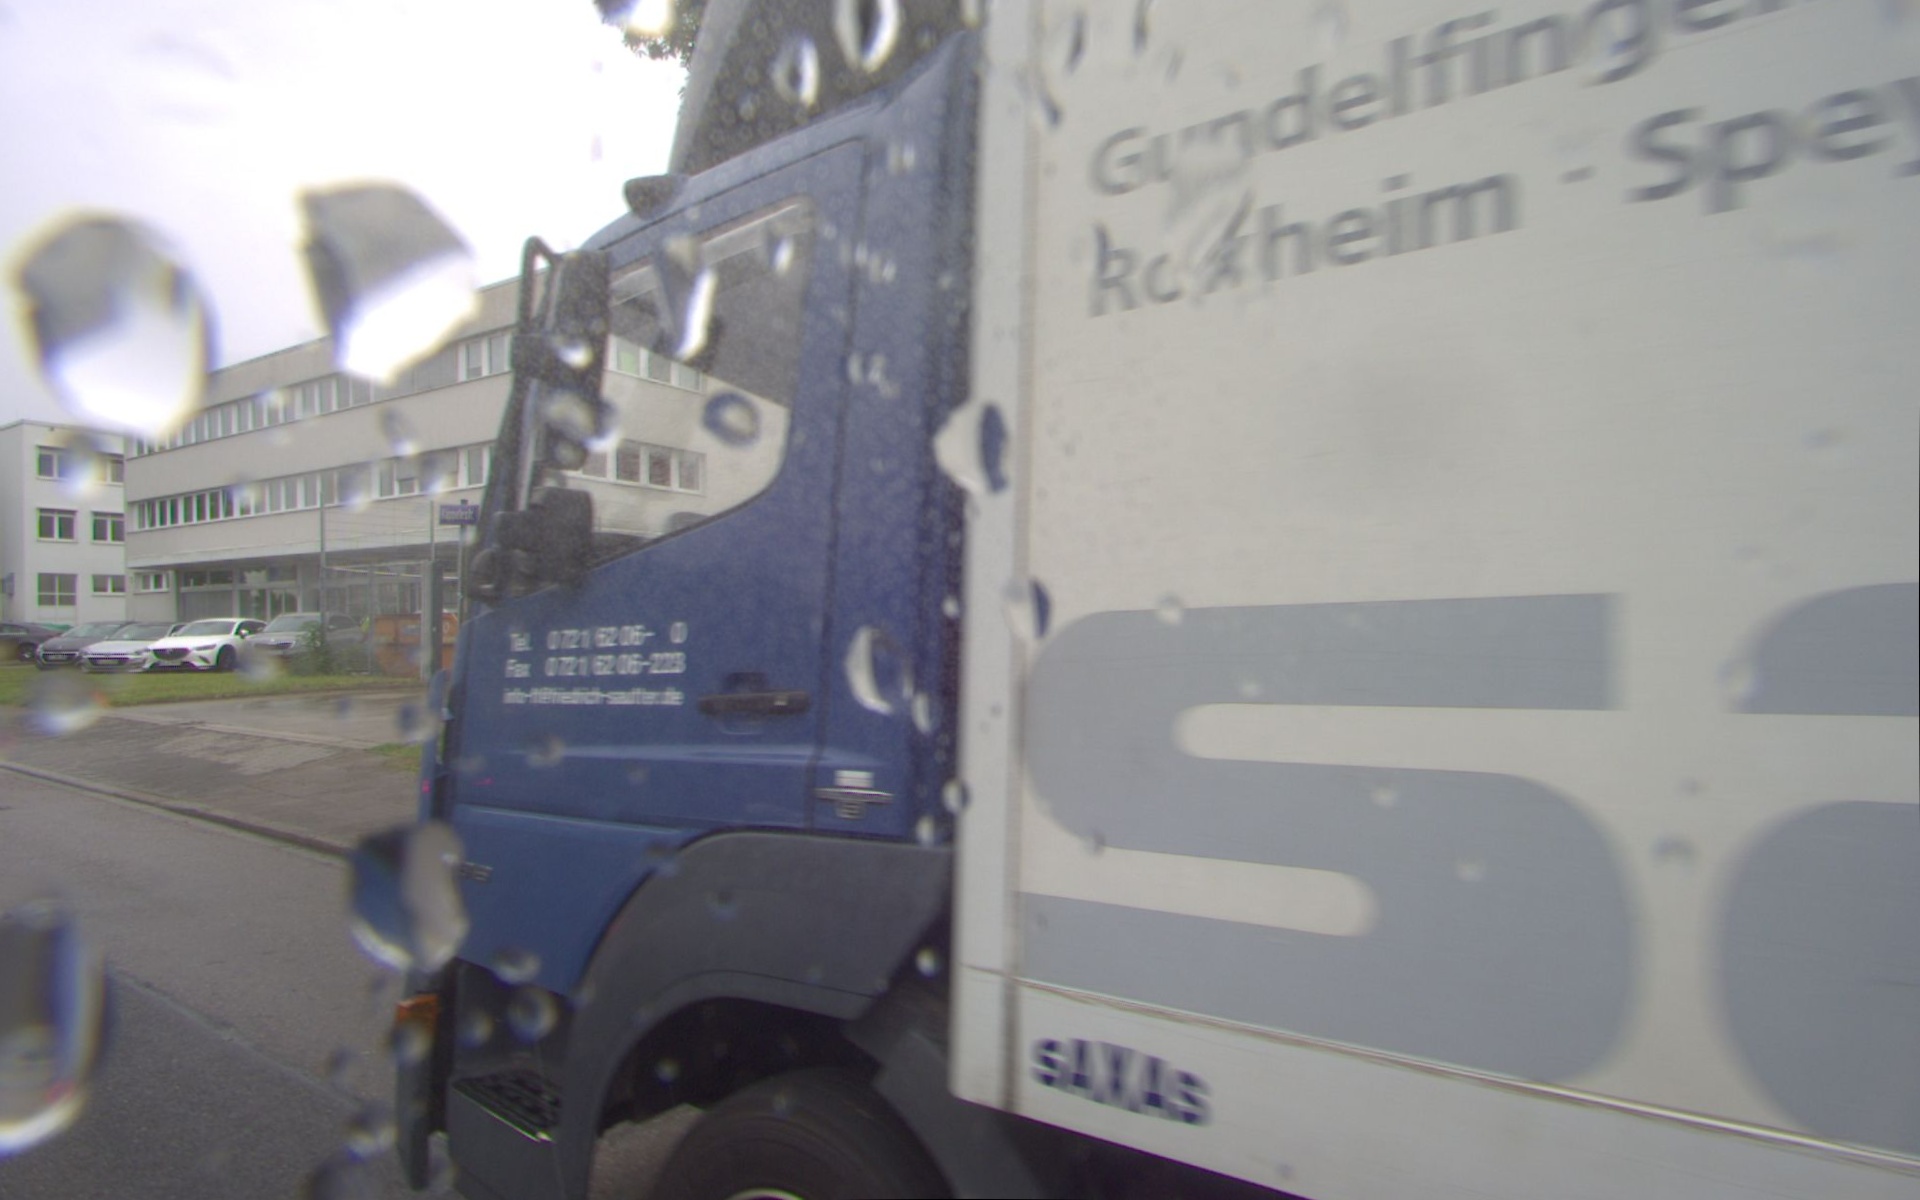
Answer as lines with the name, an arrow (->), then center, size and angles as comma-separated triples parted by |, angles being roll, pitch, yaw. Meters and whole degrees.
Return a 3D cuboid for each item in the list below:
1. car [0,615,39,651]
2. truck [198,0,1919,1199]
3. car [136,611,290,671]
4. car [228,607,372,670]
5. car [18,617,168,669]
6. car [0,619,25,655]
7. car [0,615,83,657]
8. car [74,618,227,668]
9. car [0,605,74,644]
car -> -41.848, 1.343, 42.219 | 4.077, 1.435, 1.687 | 2, 1, -16
truck -> 2.428, -0.291, 1.087 | 7.898, 3.737, 2.667 | -1, -3, 34
car -> -19.950, 1.049, 26.953 | 1.742, 1.489, 3.997 | 0, -1, -11
car -> -17.458, 0.988, 26.722 | 1.838, 1.547, 3.997 | 0, -1, -11
car -> -25.527, 1.220, 29.650 | 1.675, 1.411, 3.765 | 0, -1, -11
car -> -40.312, 1.402, 40.124 | 3.714, 1.414, 1.724 | 3, -1, -16
car -> -35.082, 1.302, 36.314 | 4.595, 1.487, 1.787 | 0, -1, -19
car -> -22.853, 1.168, 28.463 | 1.675, 1.303, 3.997 | 0, -1, -11
car -> -51.539, 1.321, 53.166 | 1.970, 2.039, 6.448 | -1, -2, 29
